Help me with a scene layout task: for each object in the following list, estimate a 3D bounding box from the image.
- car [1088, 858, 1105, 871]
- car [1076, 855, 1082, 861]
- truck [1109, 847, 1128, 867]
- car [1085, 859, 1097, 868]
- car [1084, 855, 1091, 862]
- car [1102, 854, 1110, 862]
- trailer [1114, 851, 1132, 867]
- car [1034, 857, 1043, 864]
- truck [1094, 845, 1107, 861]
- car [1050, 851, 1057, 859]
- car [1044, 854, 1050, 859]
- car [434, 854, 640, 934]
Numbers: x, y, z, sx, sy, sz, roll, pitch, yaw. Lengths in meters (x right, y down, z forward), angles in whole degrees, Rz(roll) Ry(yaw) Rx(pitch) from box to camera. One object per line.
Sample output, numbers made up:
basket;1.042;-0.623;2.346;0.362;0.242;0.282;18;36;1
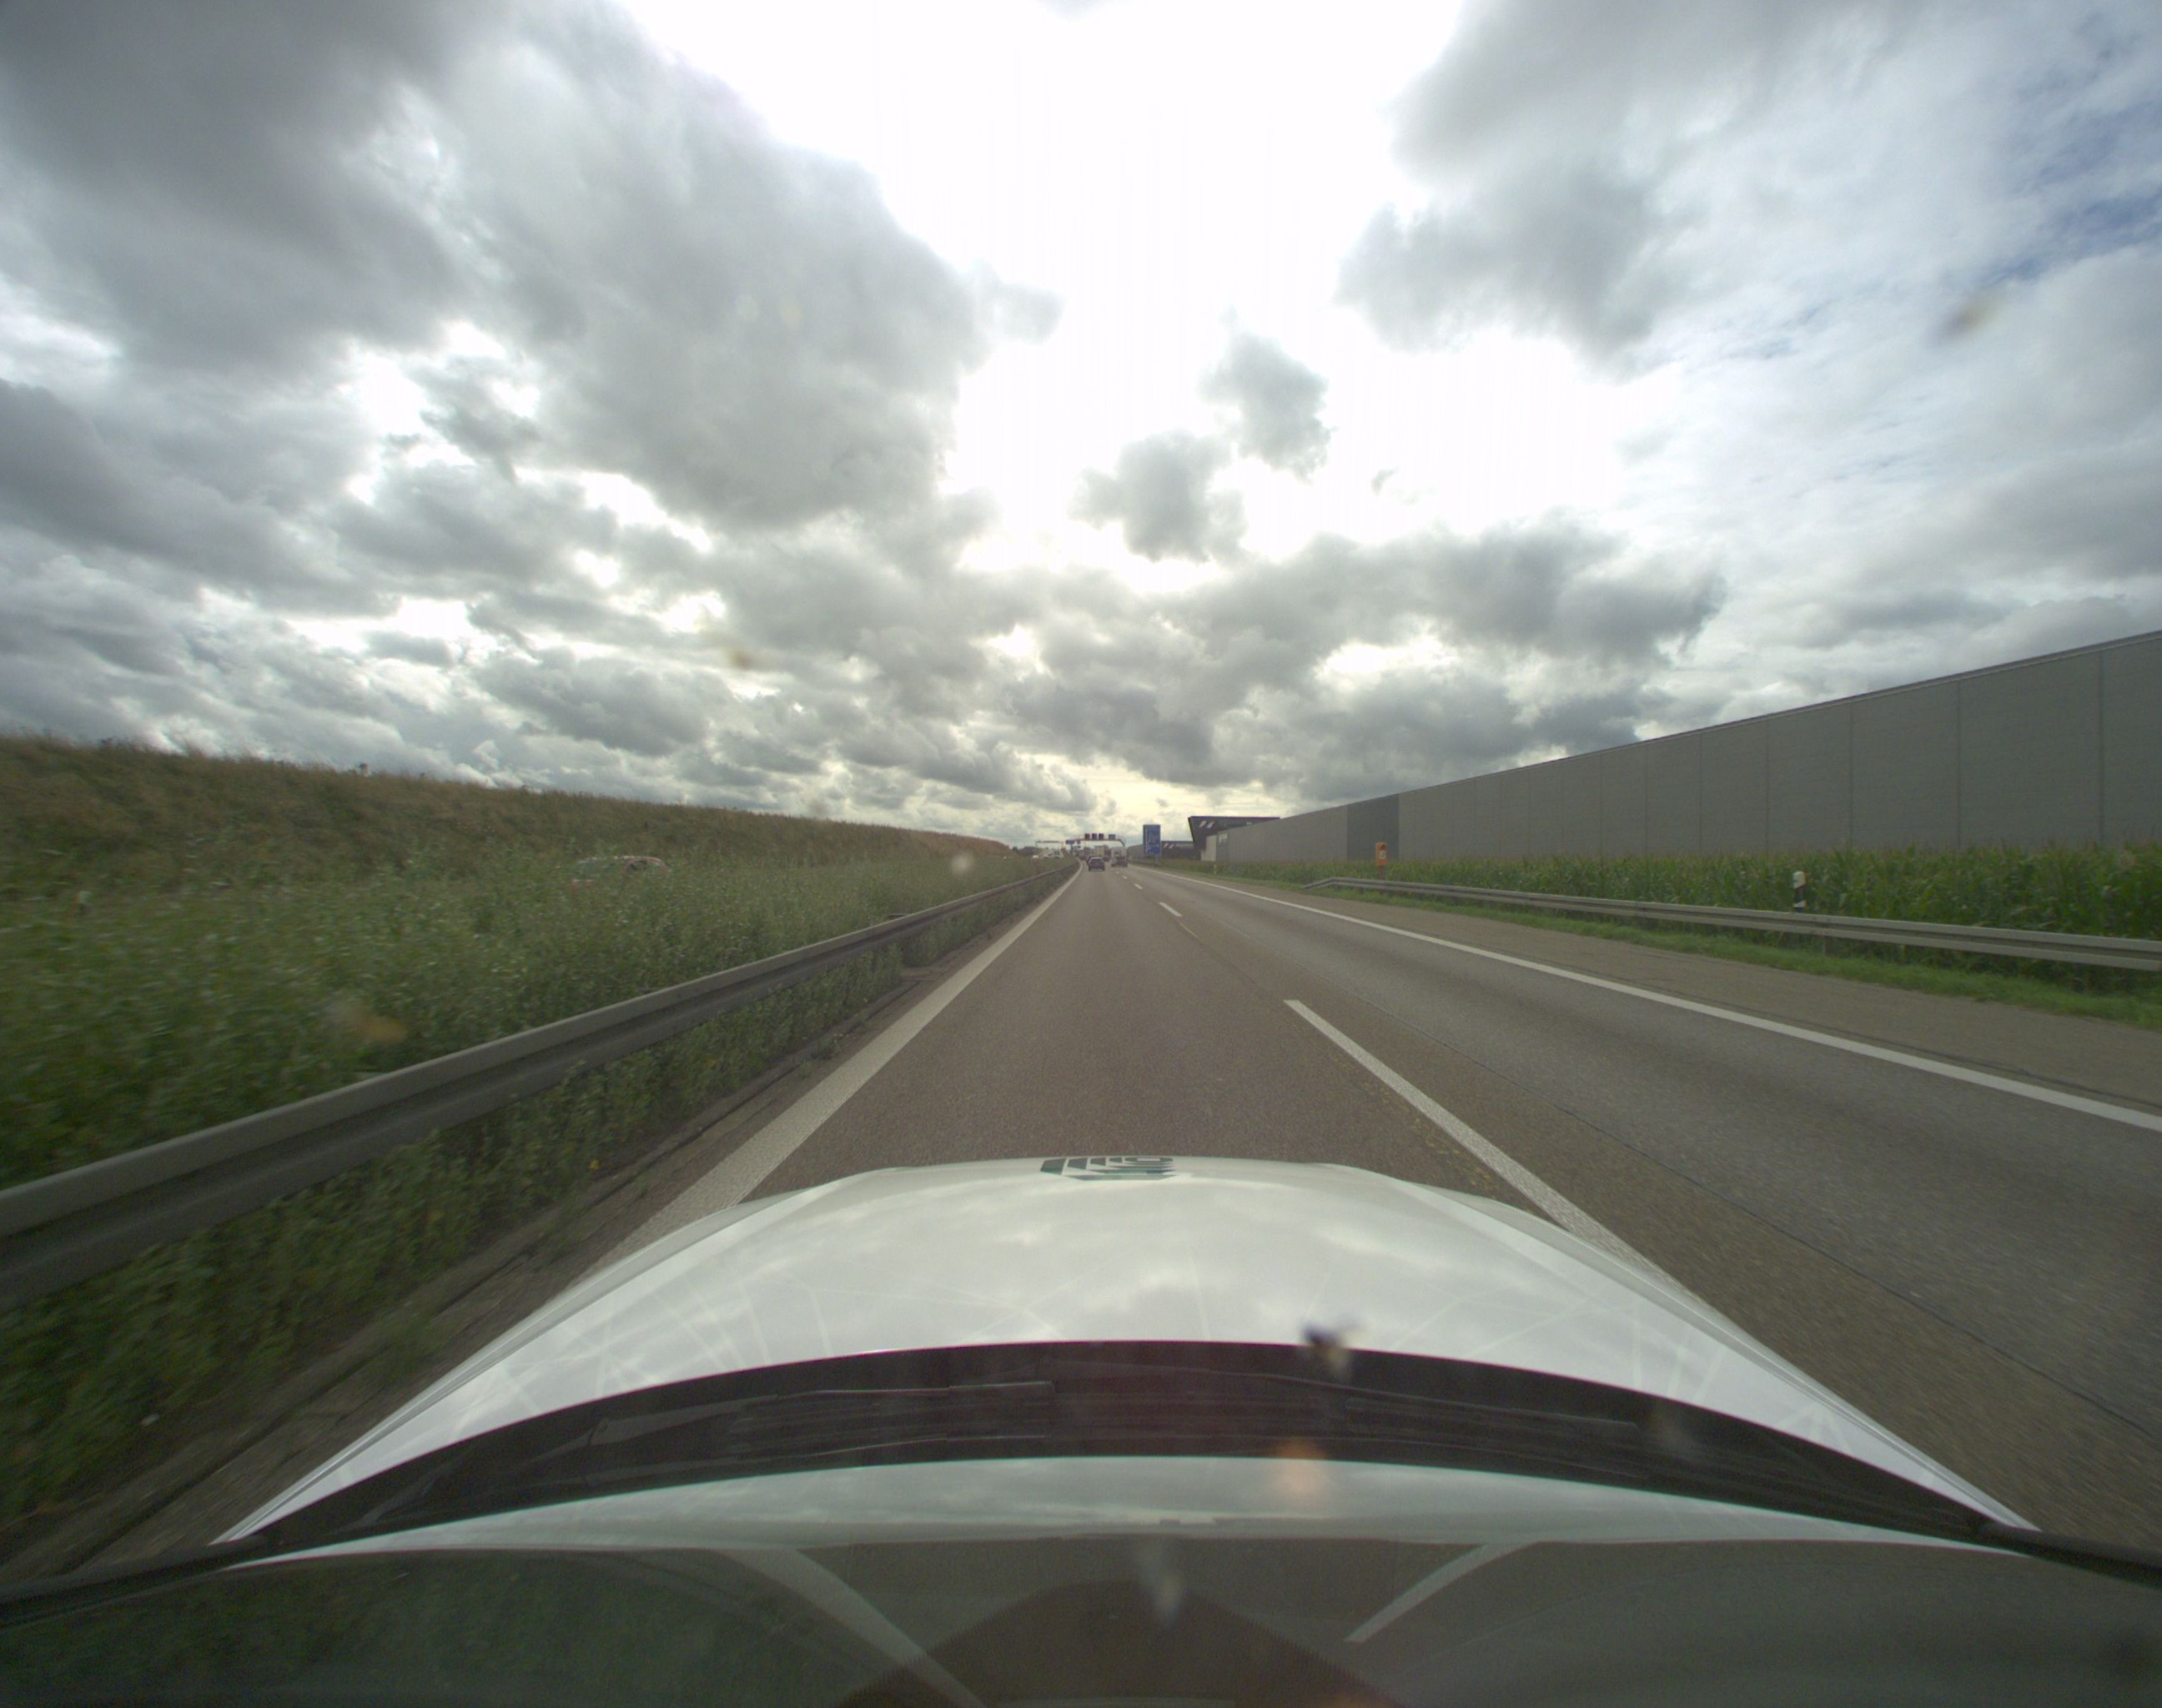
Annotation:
car;1.699;1.130;88.329;1.740;1.453;4.001;0;-1;1
car;-0.616;1.228;256.079;1.986;2.014;4.001;0;-1;1
truck;5.631;0.464;121.545;2.475;2.950;5.812;0;-1;-1
car;1.792;1.652;143.814;1.939;1.685;4.001;0;-1;1
car;1.740;1.257;223.655;1.936;1.775;3.696;0;-1;1
car;5.645;0.886;185.965;1.795;1.685;4.000;0;-1;1
trailer;5.876;0.716;114.571;2.330;2.136;4.001;0;-1;1
car;-9.679;1.502;185.815;1.718;1.403;4.342;0;-1;1
truck;5.634;-0.253;231.864;3.329;4.534;8.013;0;-1;-1
car;-8.368;0.365;250.137;1.987;2.348;5.869;0;-1;0
car;-10.821;0.719;257.318;1.766;1.454;4.000;0;-1;1
car;-11.686;0.796;17.871;1.726;1.556;4.001;0;-1;1
